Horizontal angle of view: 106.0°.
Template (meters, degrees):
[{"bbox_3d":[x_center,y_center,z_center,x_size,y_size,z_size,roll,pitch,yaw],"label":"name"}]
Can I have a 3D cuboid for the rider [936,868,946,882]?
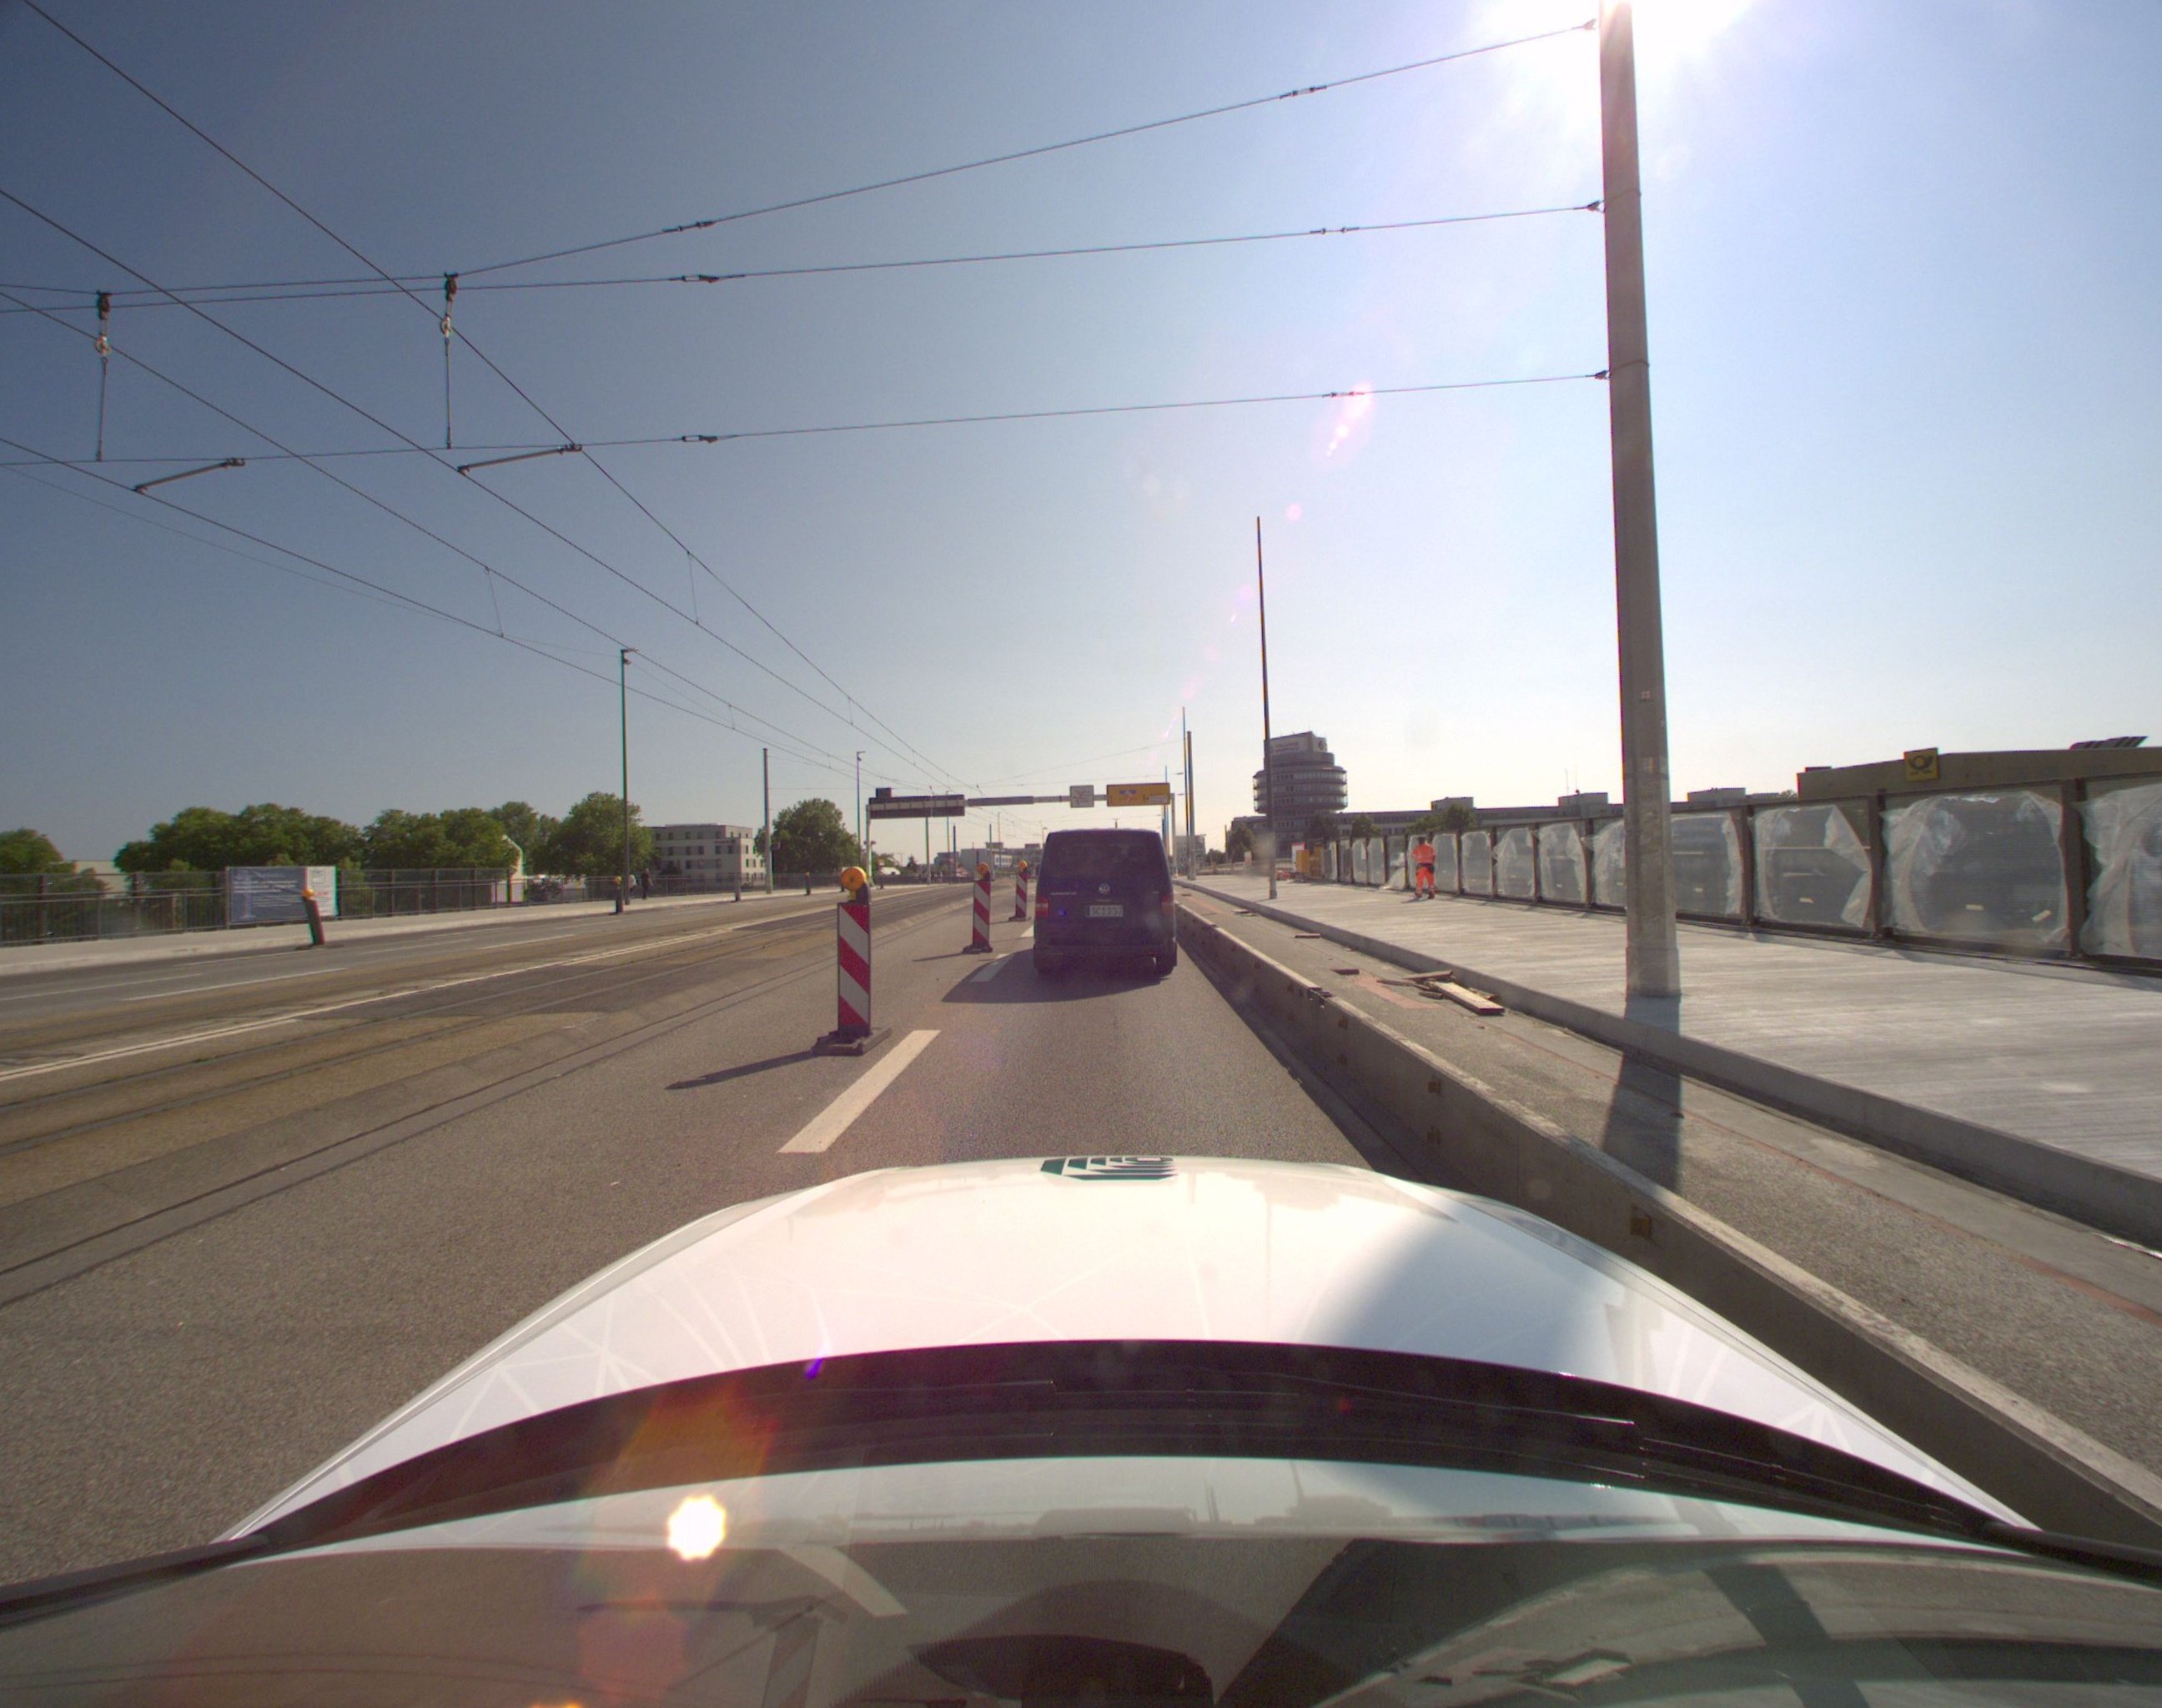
[{"bbox_3d":[-18.611,2.793,108.127,0.760,1.733,2.952,-1,-1,1],"label":"rider"}]

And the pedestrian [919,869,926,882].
[{"bbox_3d":[-20.868,2.851,107.161,0.594,1.687,0.819,-2,-1,5],"label":"pedestrian"}]

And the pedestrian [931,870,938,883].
[{"bbox_3d":[-19.859,3.060,110.411,0.749,1.687,0.733,-2,-1,5],"label":"pedestrian"}]

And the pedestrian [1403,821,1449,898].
[{"bbox_3d":[9.193,0.147,21.746,0.728,1.965,1.017,-3,-1,2],"label":"pedestrian"}]

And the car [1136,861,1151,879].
[{"bbox_3d":[10.120,2.604,131.441,2.329,2.887,5.975,0,-1,3],"label":"car"}]

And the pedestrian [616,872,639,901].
[{"bbox_3d":[-24.987,1.773,44.849,0.717,1.544,0.889,1,-1,2],"label":"pedestrian"}]

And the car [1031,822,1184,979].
[{"bbox_3d":[0.391,0.610,12.072,1.881,1.934,4.001,0,-1,2],"label":"car"}]

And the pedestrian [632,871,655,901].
[{"bbox_3d":[-24.115,1.744,44.863,0.741,1.642,0.895,1,-1,2],"label":"pedestrian"}]

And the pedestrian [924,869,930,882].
[{"bbox_3d":[-20.333,2.850,107.466,0.483,1.687,0.809,-2,-1,5],"label":"pedestrian"}]
